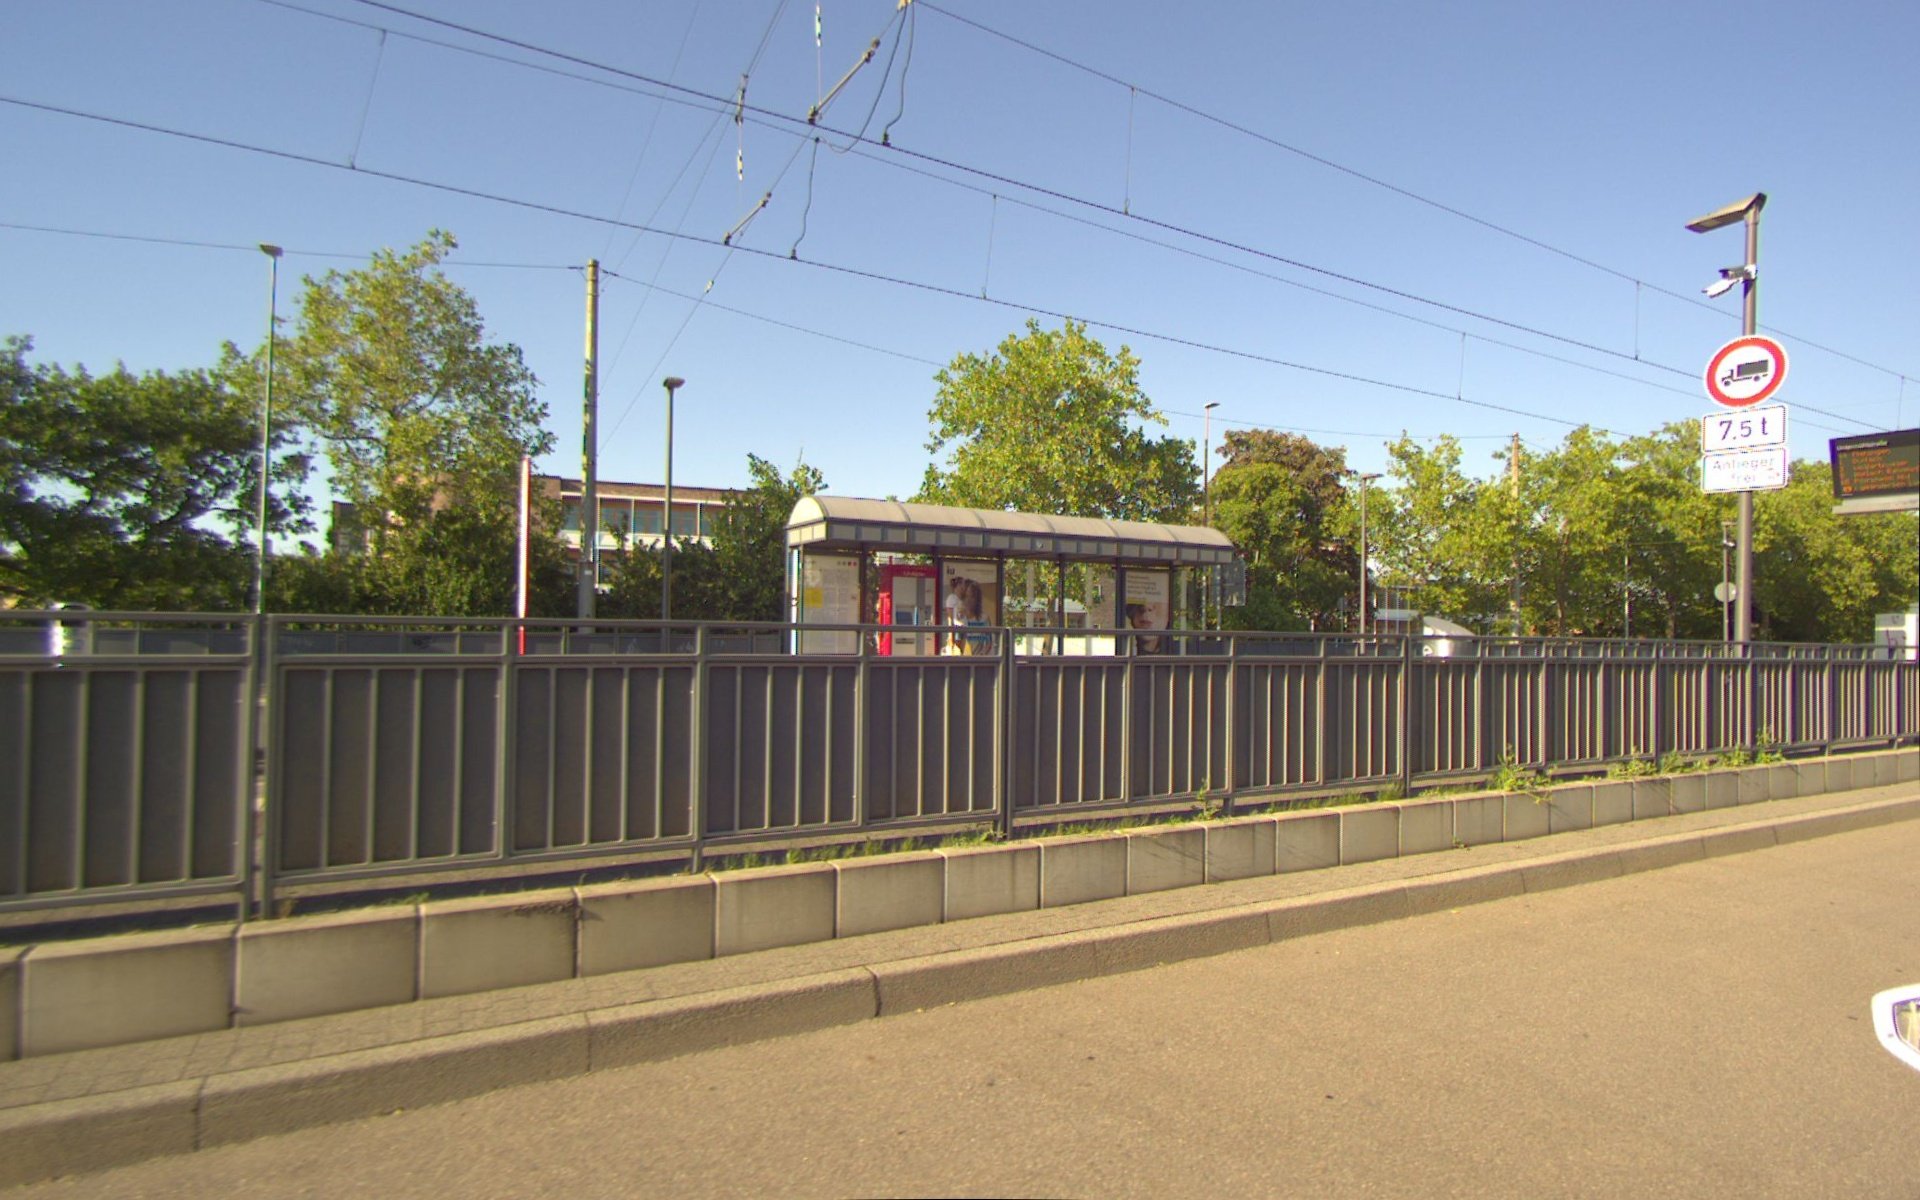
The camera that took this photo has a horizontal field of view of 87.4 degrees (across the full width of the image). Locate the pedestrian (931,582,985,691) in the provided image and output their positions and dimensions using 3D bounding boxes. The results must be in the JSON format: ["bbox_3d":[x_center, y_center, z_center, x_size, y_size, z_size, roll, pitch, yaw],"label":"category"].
[{"bbox_3d":[-0.033,0.610,16.847,0.578,1.780,0.699,1,-1,32],"label":"pedestrian"}]
